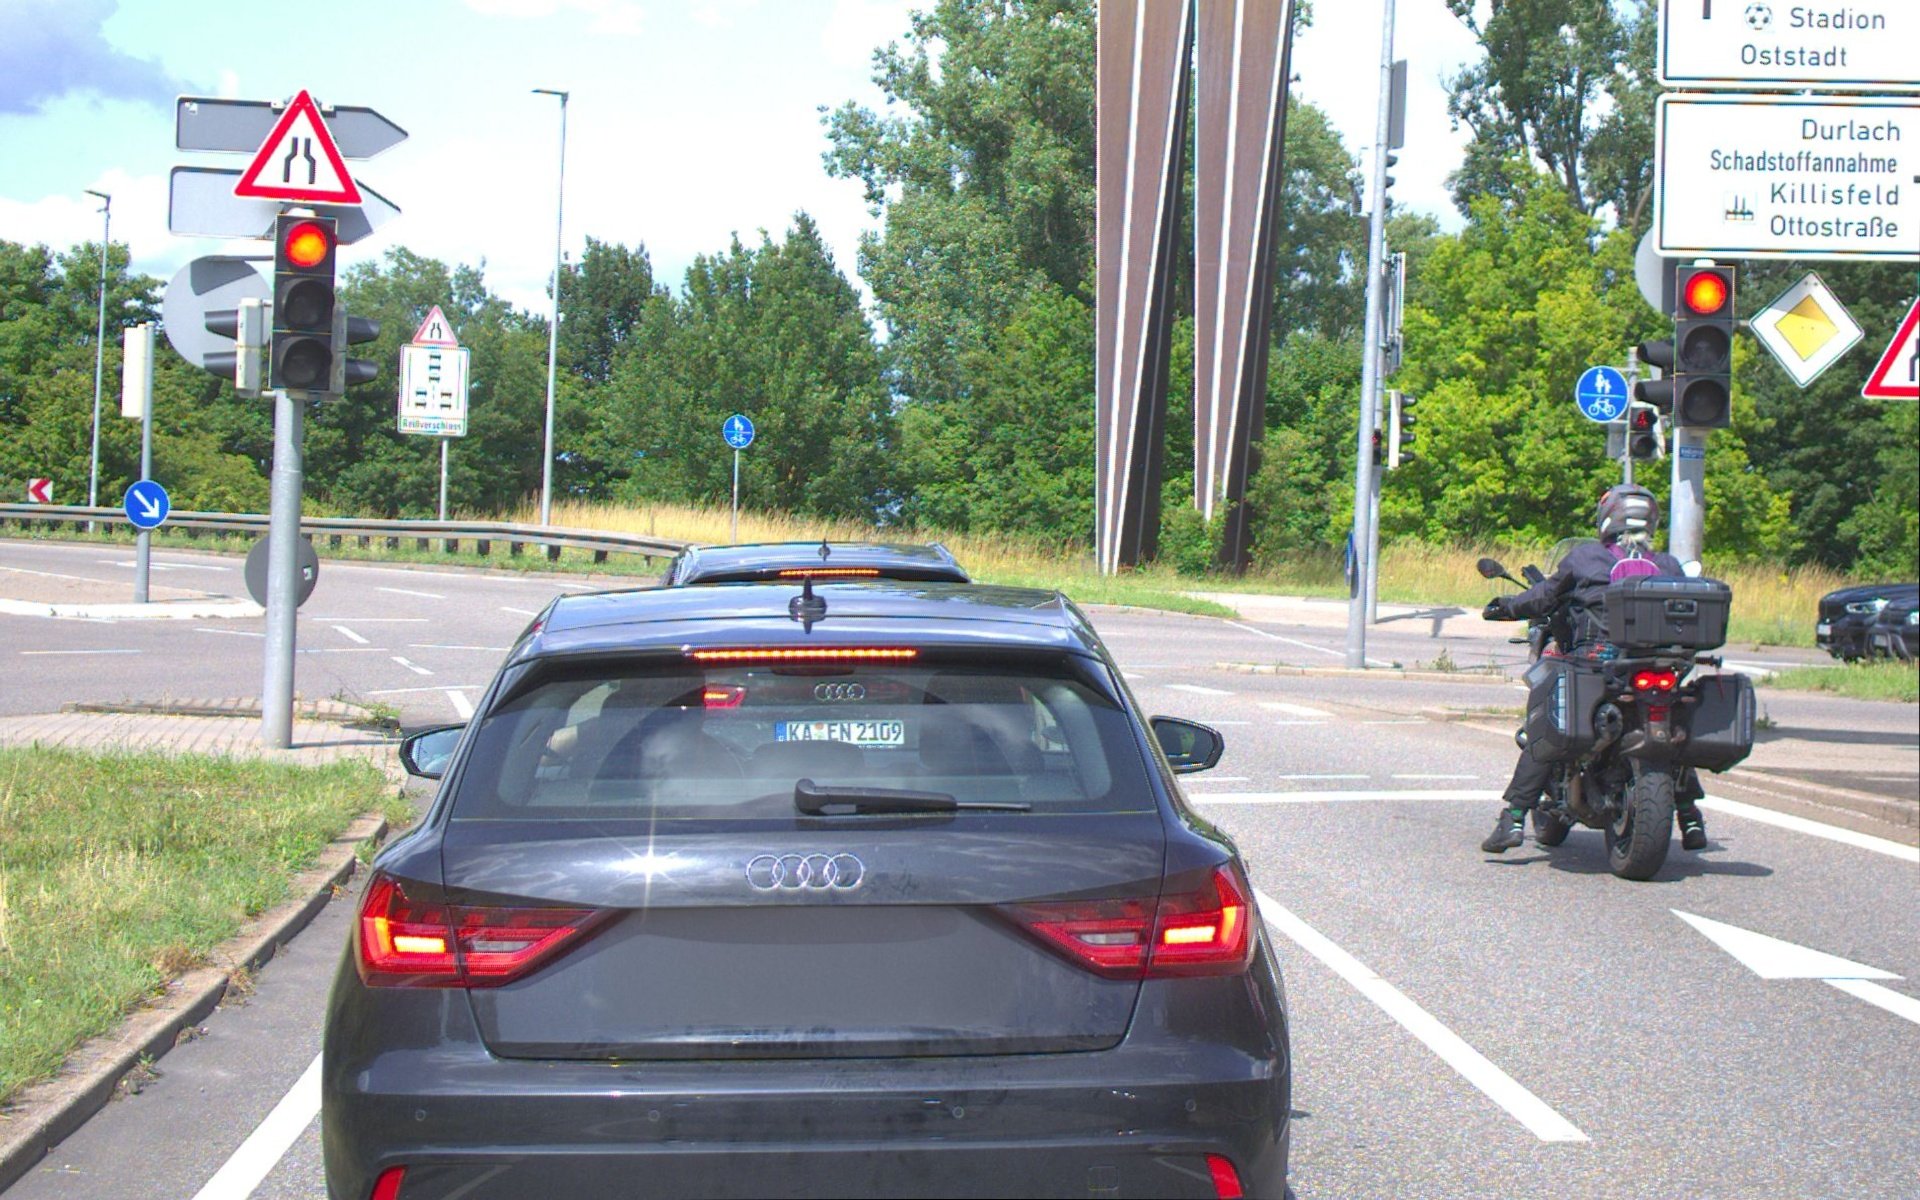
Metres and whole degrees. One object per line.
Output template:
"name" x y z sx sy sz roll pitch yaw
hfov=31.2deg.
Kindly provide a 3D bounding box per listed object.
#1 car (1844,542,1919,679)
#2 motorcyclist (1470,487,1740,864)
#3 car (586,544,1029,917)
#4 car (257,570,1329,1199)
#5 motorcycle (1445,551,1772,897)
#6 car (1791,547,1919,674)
"car" 12.651 0.167 39.895 4.268 1.539 1.737 2 1 -1
"motorcyclist" 2.833 0.312 15.211 0.936 1.585 1.083 1 1 -1
"car" -0.747 0.476 15.352 1.726 1.418 3.845 0 1 -5
"car" -0.291 0.668 7.553 1.726 1.399 4.000 0 1 -1
"motorcycle" 2.823 0.493 15.258 0.936 1.378 2.370 1 1 -1
"car" 13.242 0.169 43.748 4.847 1.539 1.737 2 1 -1
